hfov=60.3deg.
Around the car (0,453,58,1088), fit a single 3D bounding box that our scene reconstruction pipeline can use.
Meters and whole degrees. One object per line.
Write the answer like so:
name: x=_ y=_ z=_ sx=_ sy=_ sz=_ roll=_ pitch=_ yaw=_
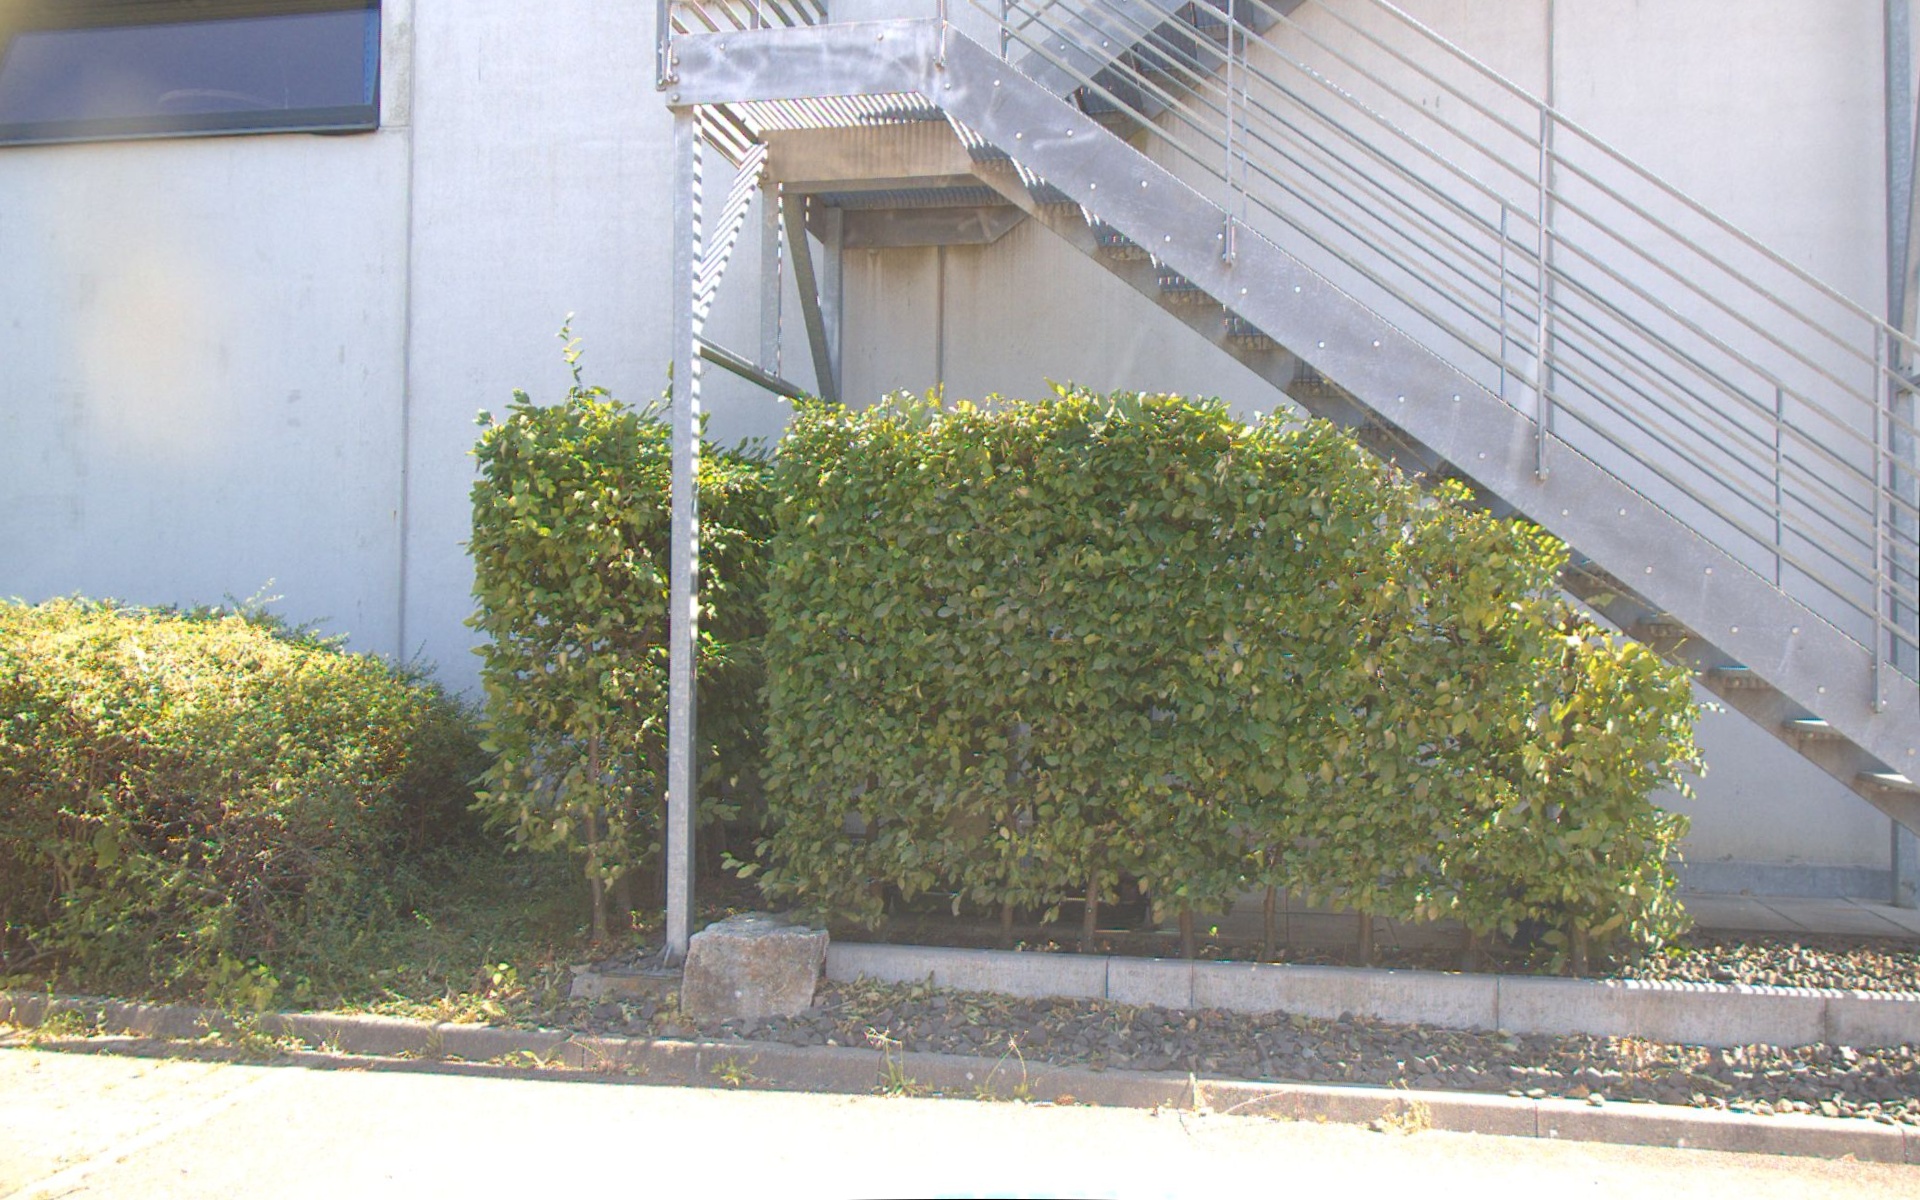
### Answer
car: x=-4.963 y=0.497 z=4.773 sx=3.971 sy=1.917 sz=1.680 roll=0 pitch=0 yaw=11
